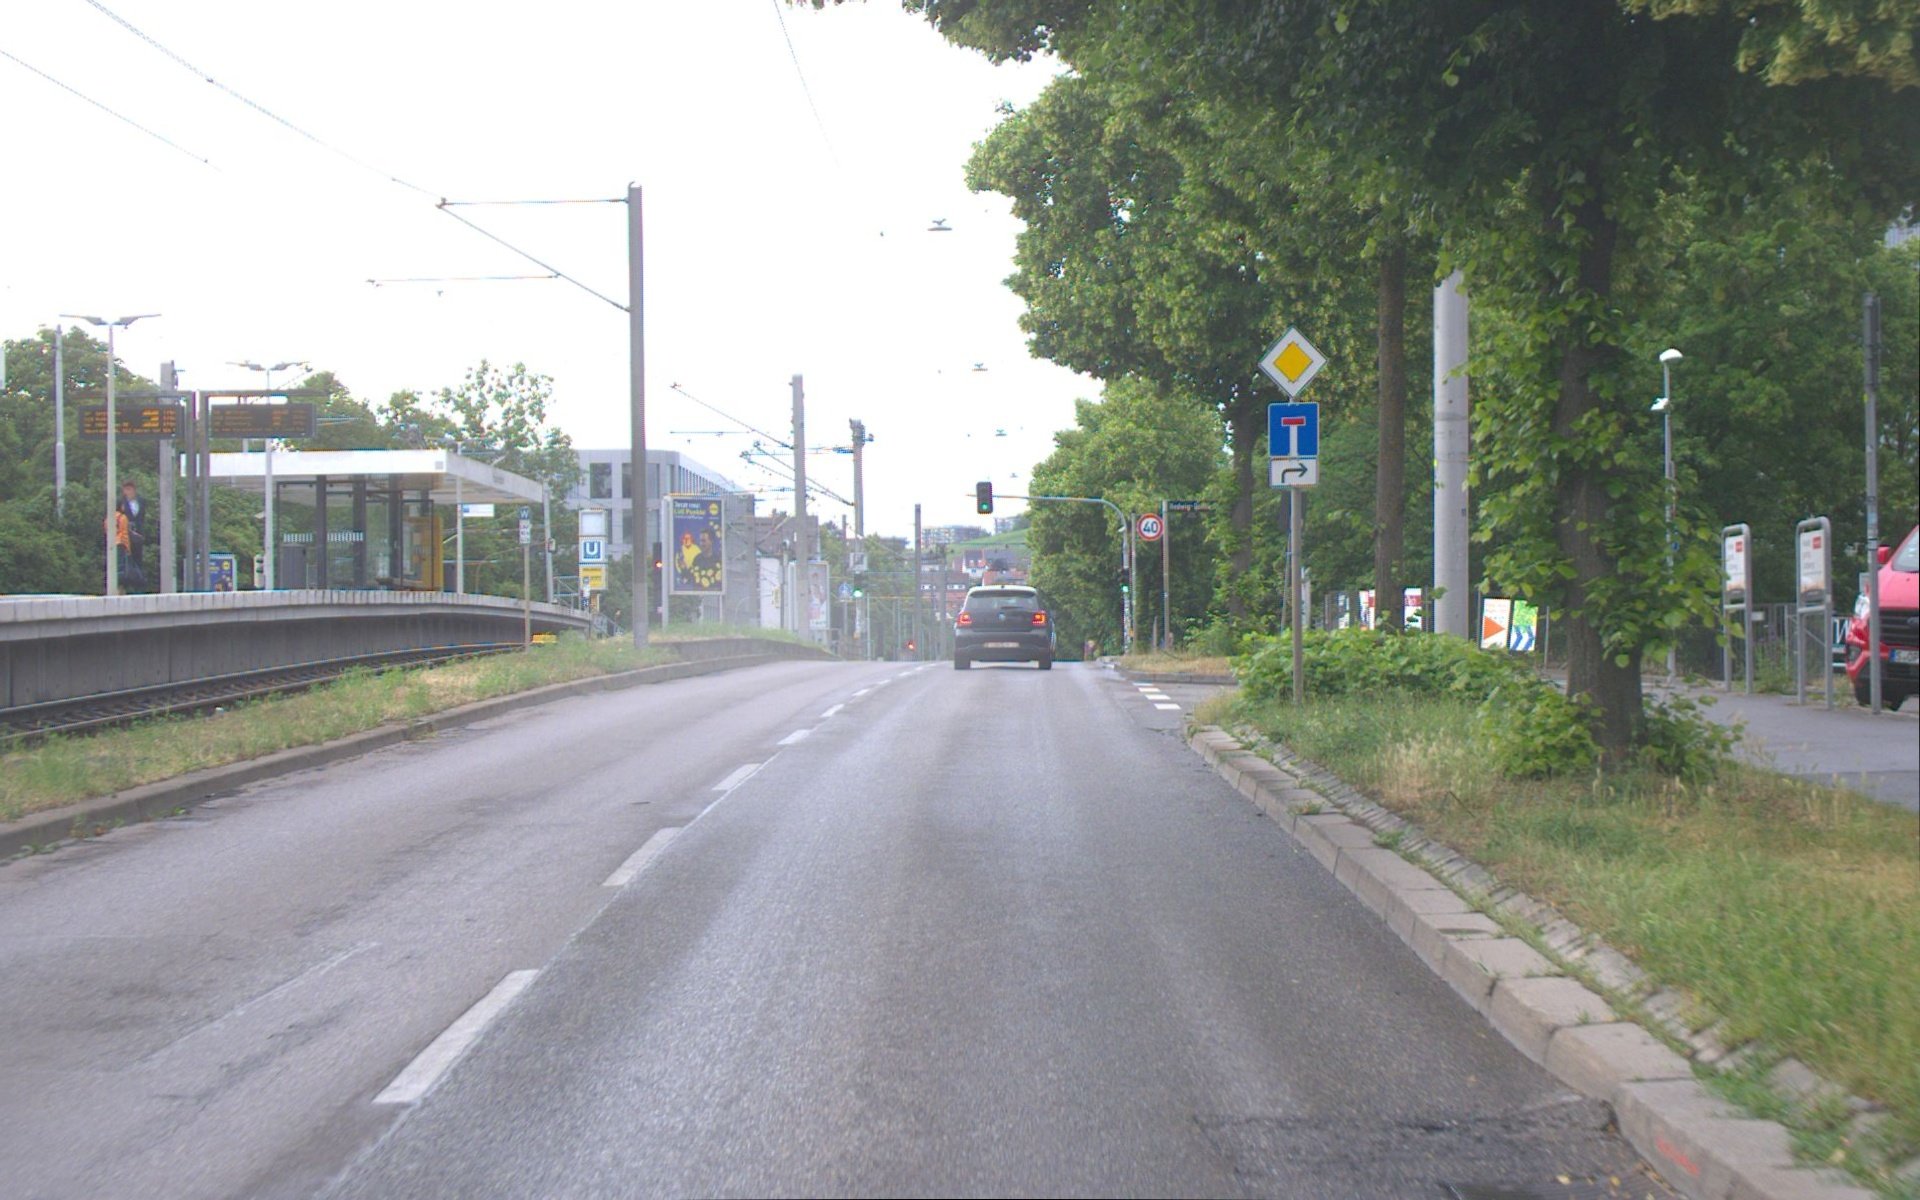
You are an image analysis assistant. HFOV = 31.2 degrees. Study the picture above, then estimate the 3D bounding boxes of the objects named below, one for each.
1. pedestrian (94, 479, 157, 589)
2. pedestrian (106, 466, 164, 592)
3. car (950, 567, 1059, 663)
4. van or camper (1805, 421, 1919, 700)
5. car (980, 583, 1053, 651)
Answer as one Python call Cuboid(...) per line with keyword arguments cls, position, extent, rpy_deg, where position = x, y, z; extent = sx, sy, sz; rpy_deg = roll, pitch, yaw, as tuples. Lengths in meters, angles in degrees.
Cuboid(cls="pedestrian", position=(-12.642, -1.003, 52.062), extent=(0.794, 1.641, 0.919), rpy_deg=(1, 2, -20))
Cuboid(cls="pedestrian", position=(-12.736, -1.103, 53.039), extent=(0.743, 1.903, 0.842), rpy_deg=(1, 2, -20))
Cuboid(cls="car", position=(0.734, 0.233, 59.450), extent=(1.726, 1.535, 4.000), rpy_deg=(0, 1, -1))
Cuboid(cls="van or camper", position=(10.162, -0.249, 31.788), extent=(2.040, 2.398, 5.377), rpy_deg=(5, 1, 43))
Cuboid(cls="car", position=(1.331, 0.383, 82.023), extent=(1.687, 1.512, 4.000), rpy_deg=(0, 1, 0))
